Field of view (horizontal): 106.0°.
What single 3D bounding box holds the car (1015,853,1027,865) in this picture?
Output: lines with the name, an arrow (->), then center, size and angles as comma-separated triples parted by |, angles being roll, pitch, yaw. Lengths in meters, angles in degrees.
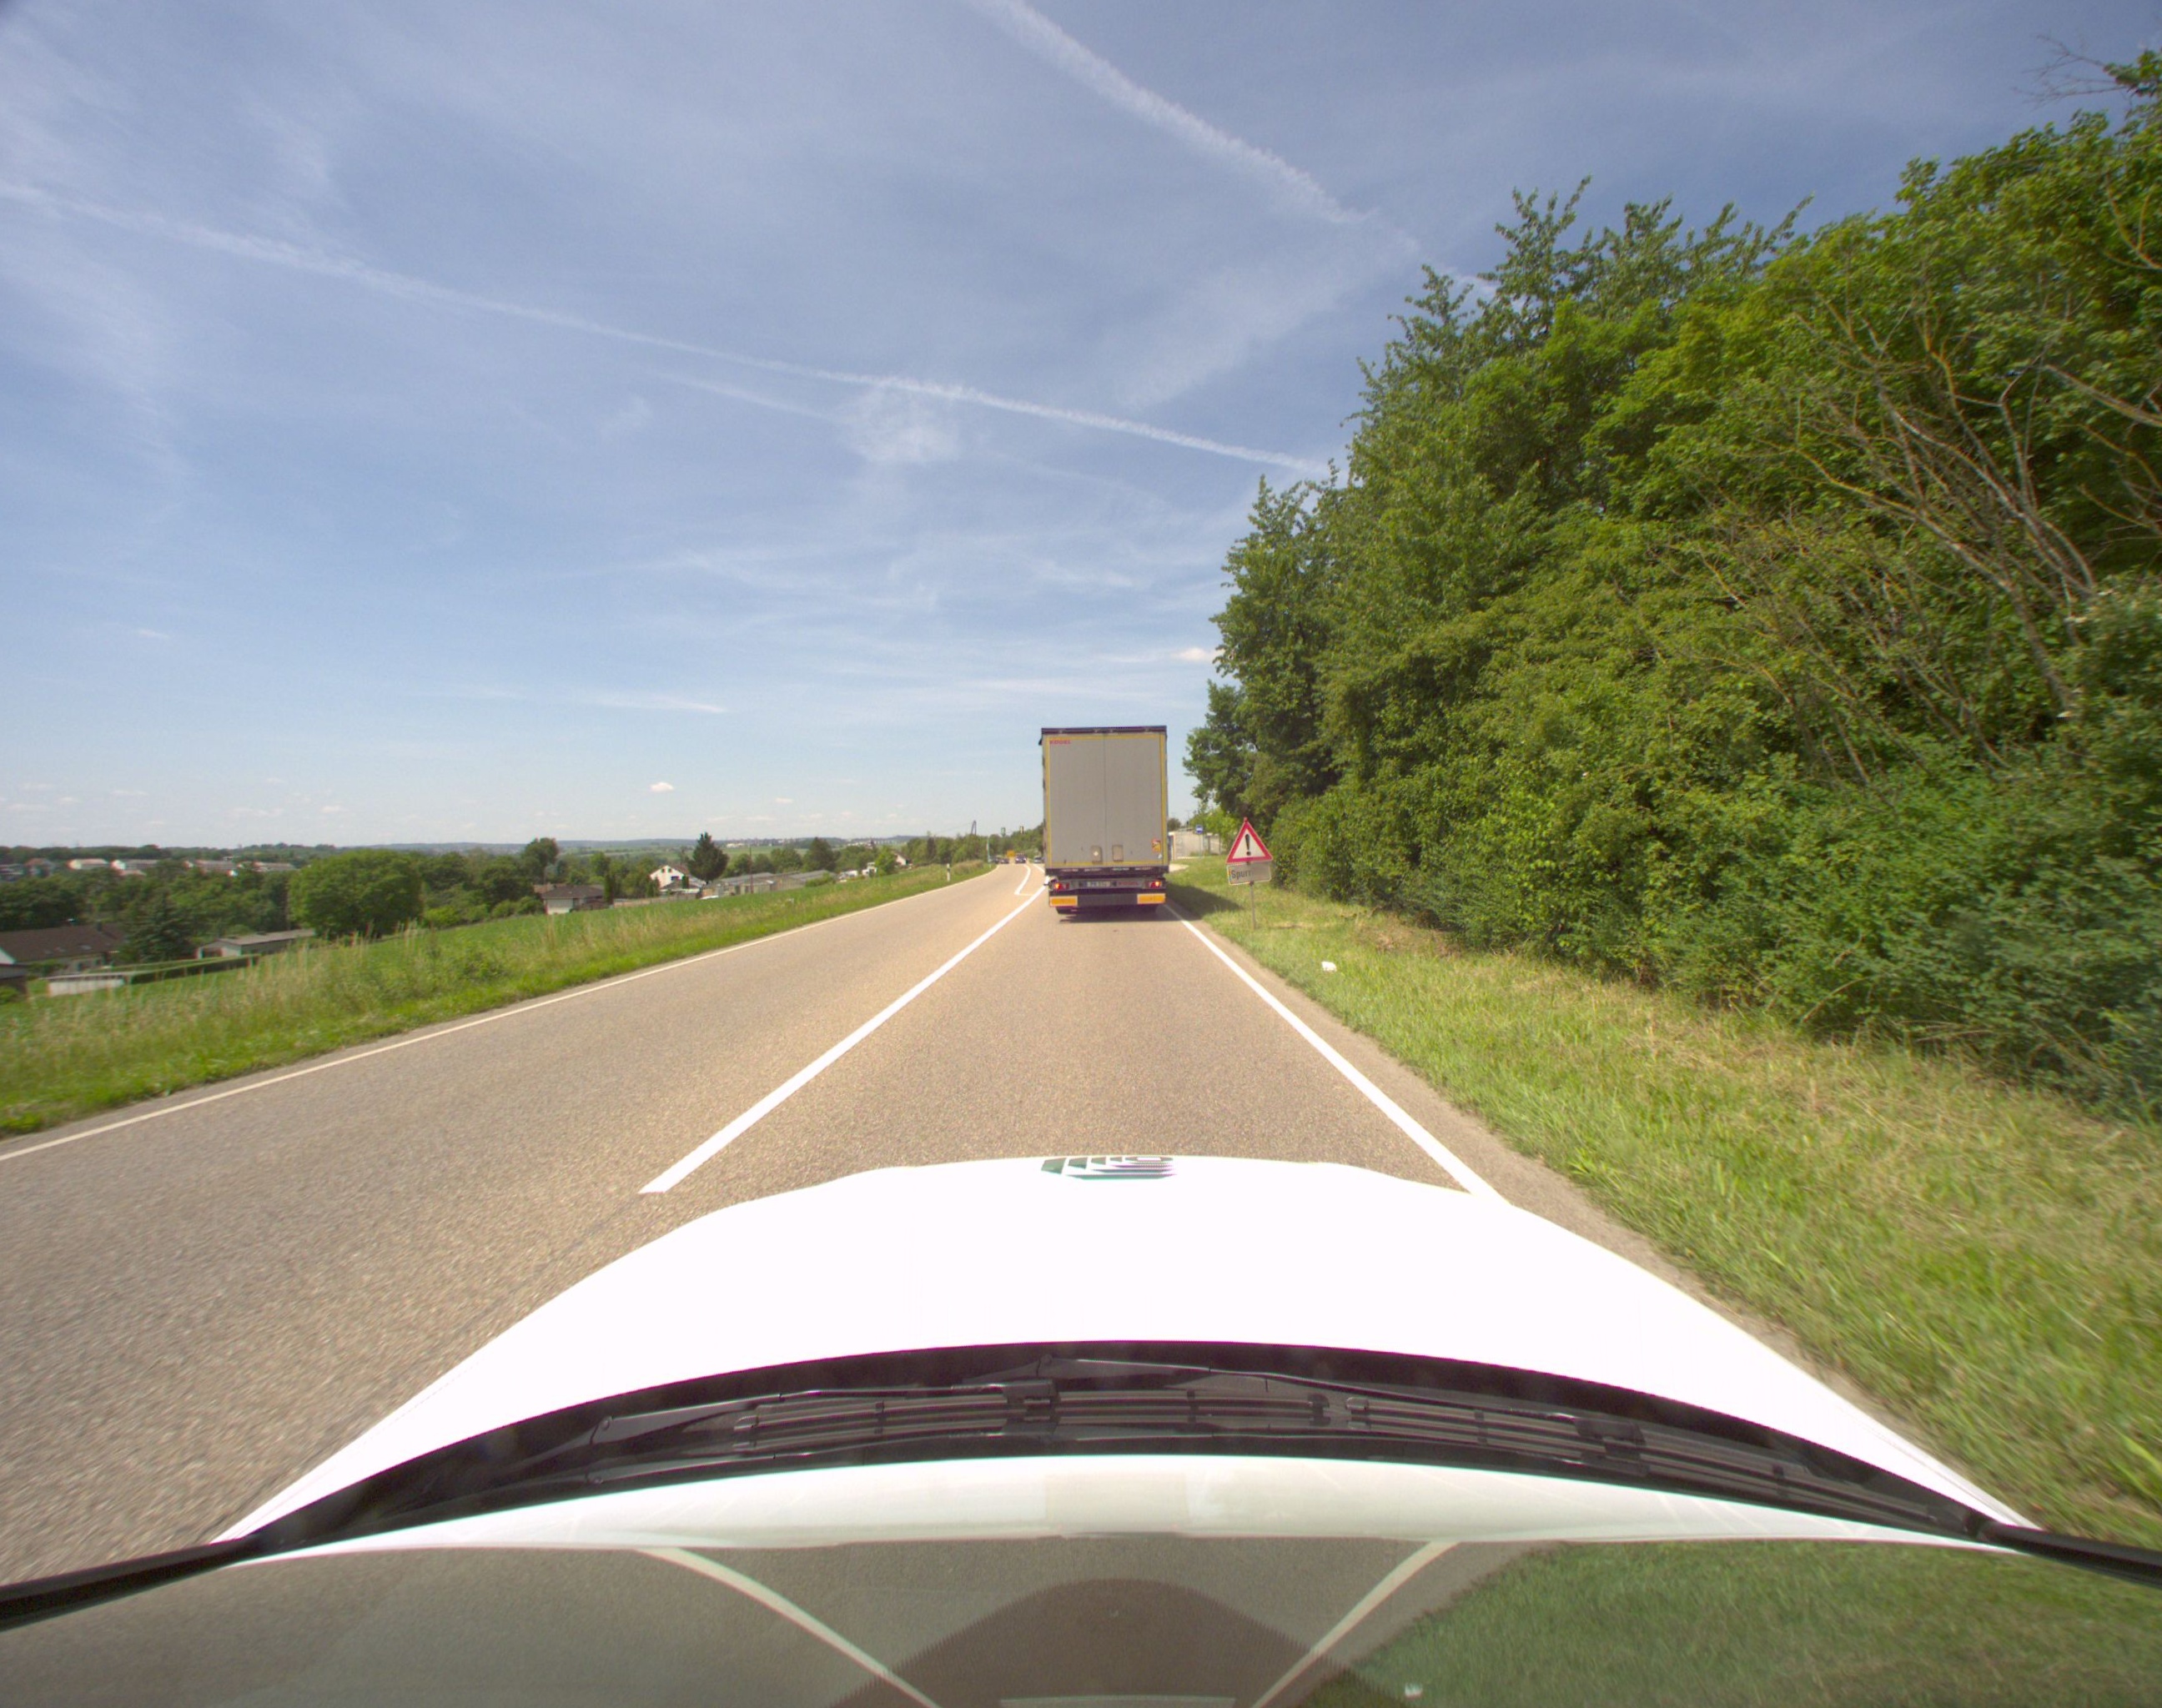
car -> -10.979, 0.935, 149.476 | 1.989, 1.950, 4.498 | -4, 0, -3

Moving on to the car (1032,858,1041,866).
car -> -10.503, 1.795, 191.692 | 1.887, 1.777, 4.382 | -3, 0, -2

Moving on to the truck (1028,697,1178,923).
truck -> 0.428, -0.903, 20.489 | 2.898, 4.409, 8.858 | -1, 0, 0

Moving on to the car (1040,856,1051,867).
car -> -7.444, 1.589, 172.792 | 2.166, 2.013, 4.522 | -3, 0, -2

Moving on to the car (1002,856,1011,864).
car -> -18.408, 1.413, 201.210 | 1.991, 1.815, 4.288 | -4, 0, -5

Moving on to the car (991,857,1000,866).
car -> -20.002, 1.780, 189.977 | 1.991, 1.978, 5.268 | -3, 0, -6
